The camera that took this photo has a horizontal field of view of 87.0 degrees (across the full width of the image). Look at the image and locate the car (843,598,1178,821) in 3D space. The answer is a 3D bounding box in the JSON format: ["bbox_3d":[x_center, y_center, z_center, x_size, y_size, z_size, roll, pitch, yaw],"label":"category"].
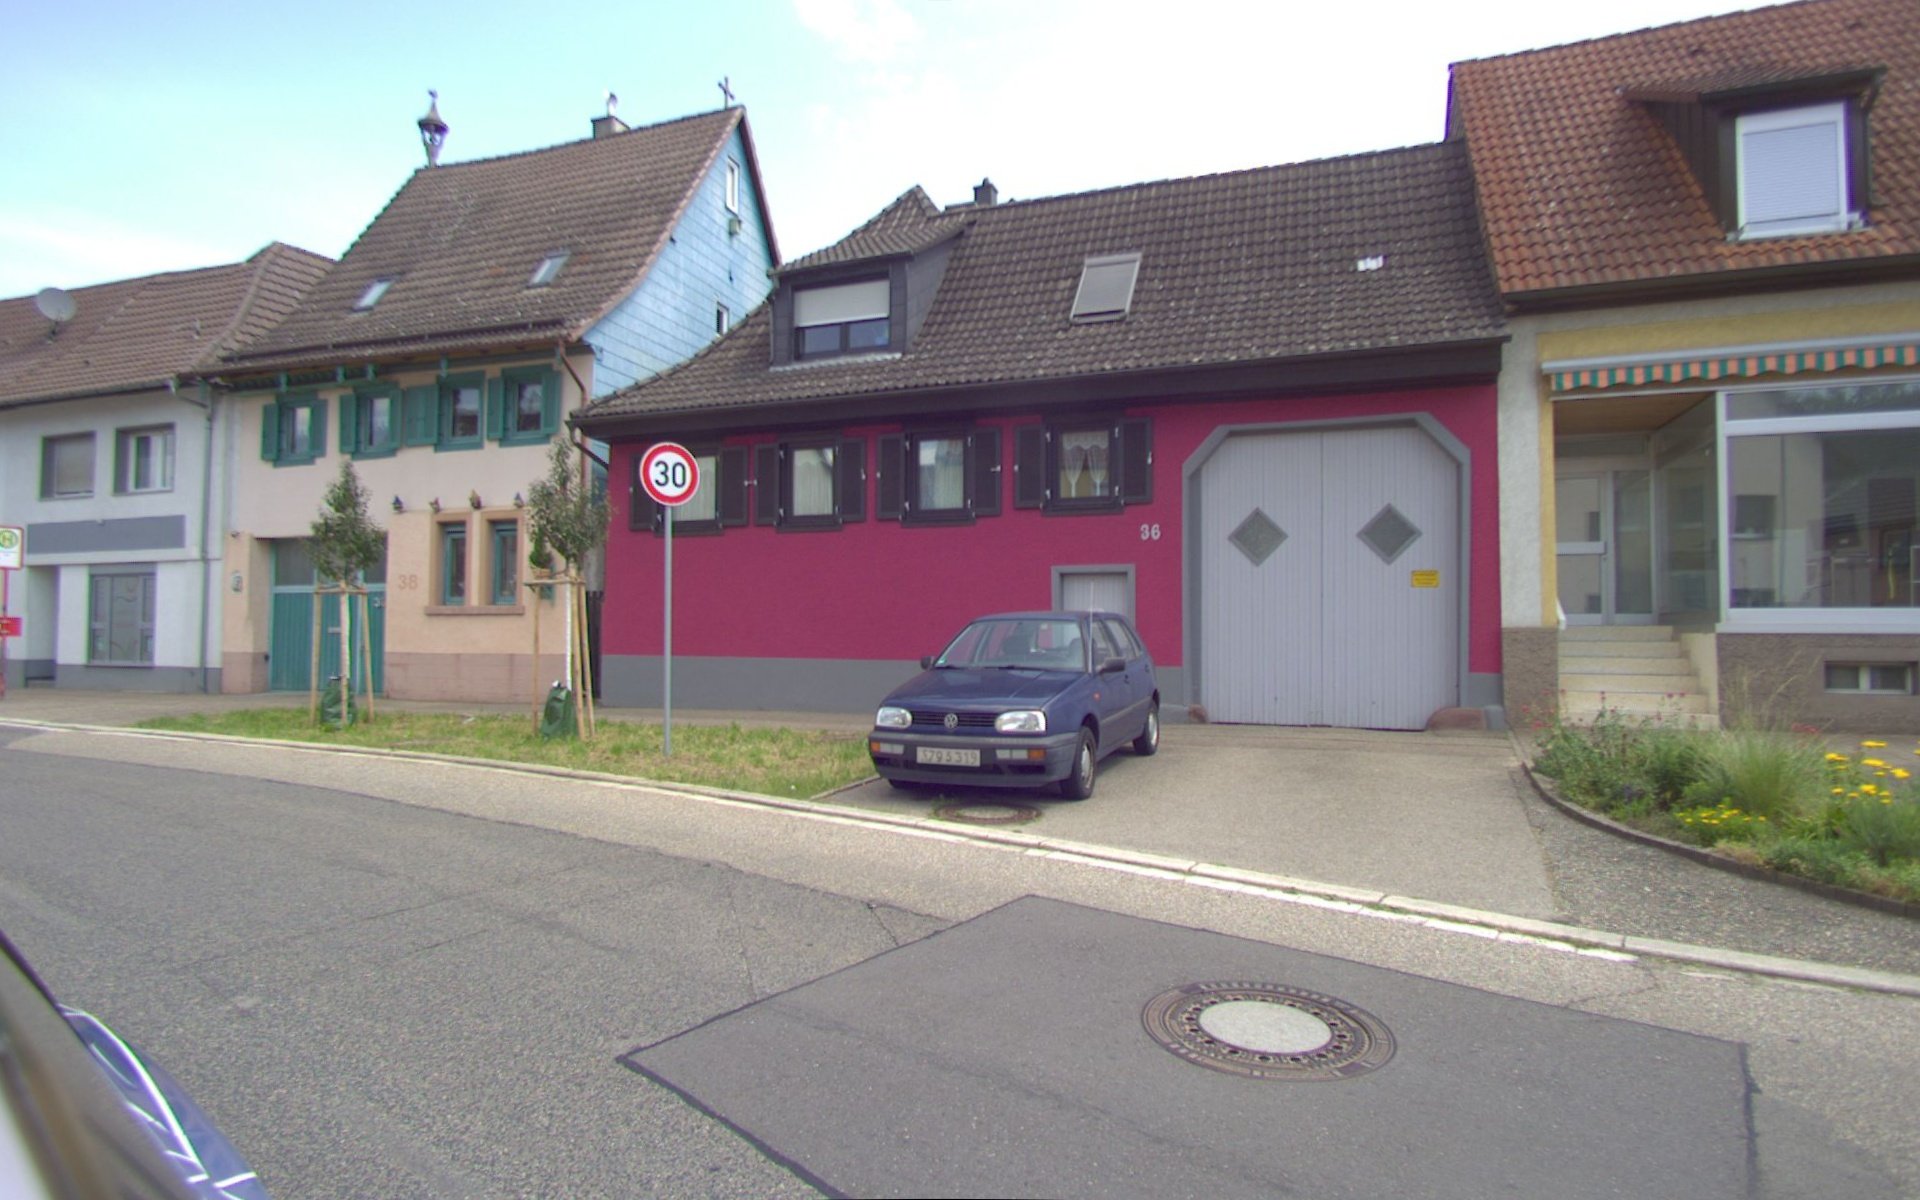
[{"bbox_3d":[0.688,0.750,8.872,1.710,1.475,3.949,-1,-1,23],"label":"car"}]
